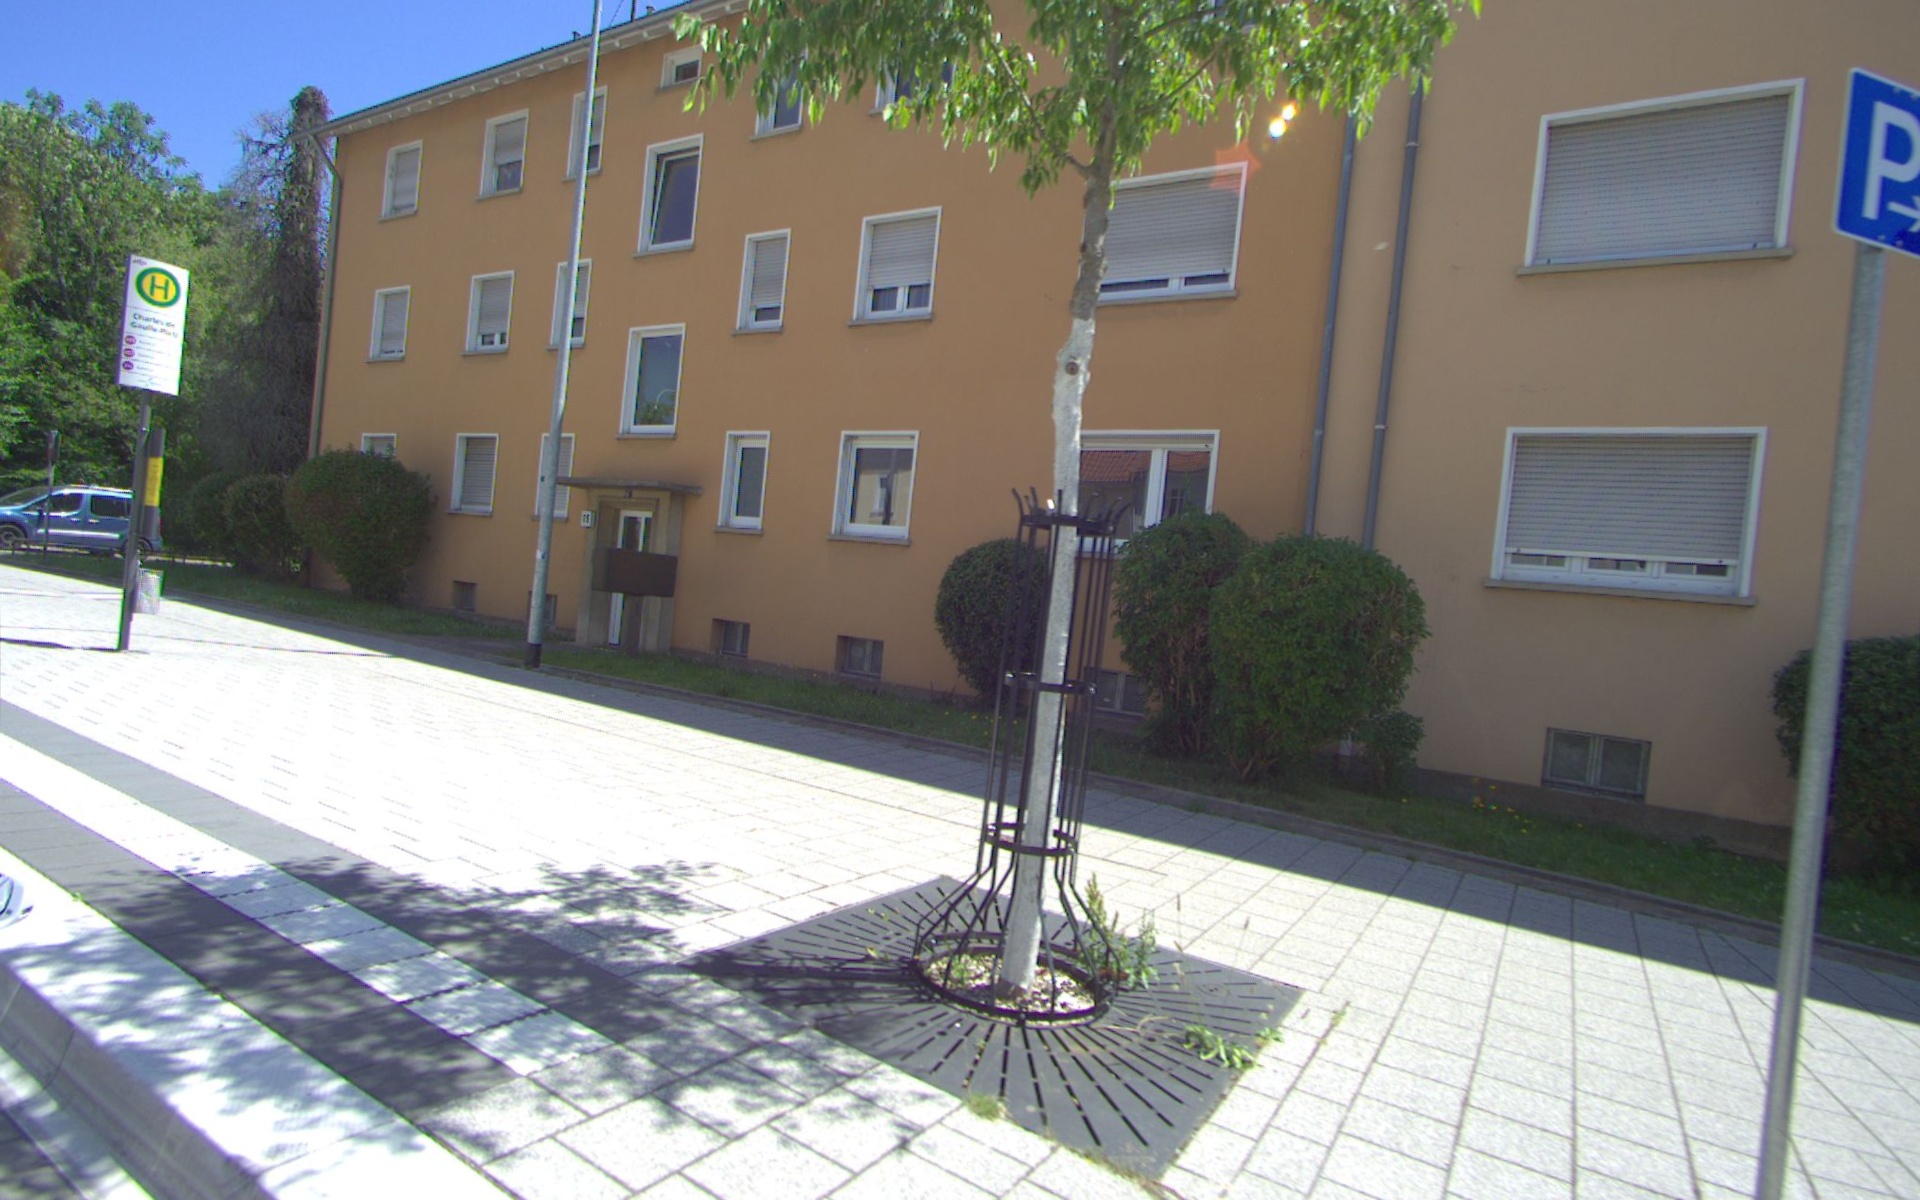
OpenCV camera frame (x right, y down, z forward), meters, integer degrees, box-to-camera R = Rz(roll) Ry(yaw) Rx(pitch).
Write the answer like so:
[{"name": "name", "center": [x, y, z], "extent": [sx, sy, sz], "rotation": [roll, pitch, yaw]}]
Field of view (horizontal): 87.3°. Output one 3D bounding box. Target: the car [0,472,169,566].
[{"name": "car", "center": [-23.206, -2.094, 25.667], "extent": [1.718, 1.860, 4.352], "rotation": [6, -2, 23]}]
